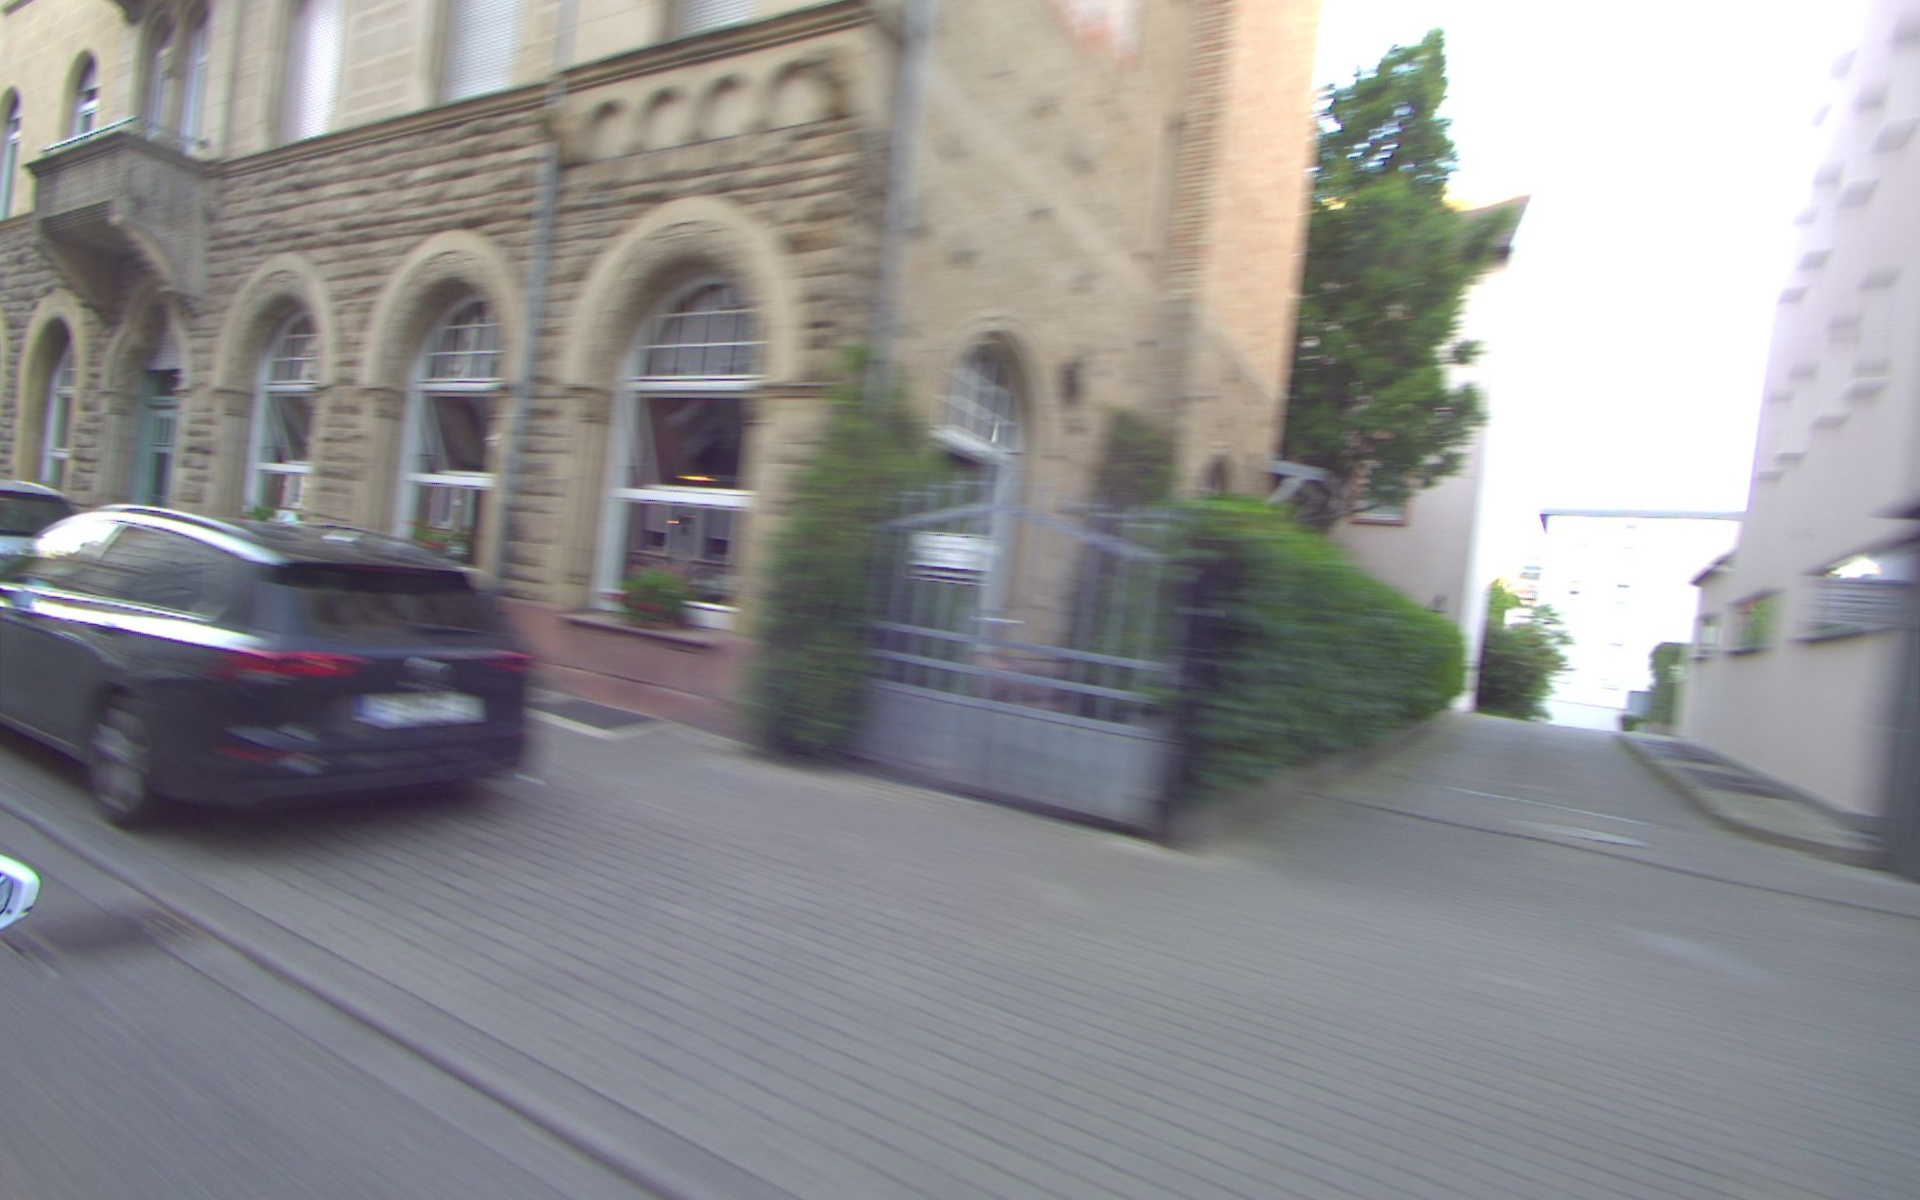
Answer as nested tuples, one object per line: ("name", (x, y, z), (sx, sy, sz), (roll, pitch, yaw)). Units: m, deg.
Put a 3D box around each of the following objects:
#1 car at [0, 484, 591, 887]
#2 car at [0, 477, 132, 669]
("car", (-4.322, 0.200, 5.854), (4.403, 1.449, 1.676), (7, 4, 32))
("car", (-9.283, -0.418, 8.878), (4.158, 1.476, 1.677), (7, 3, 30))
